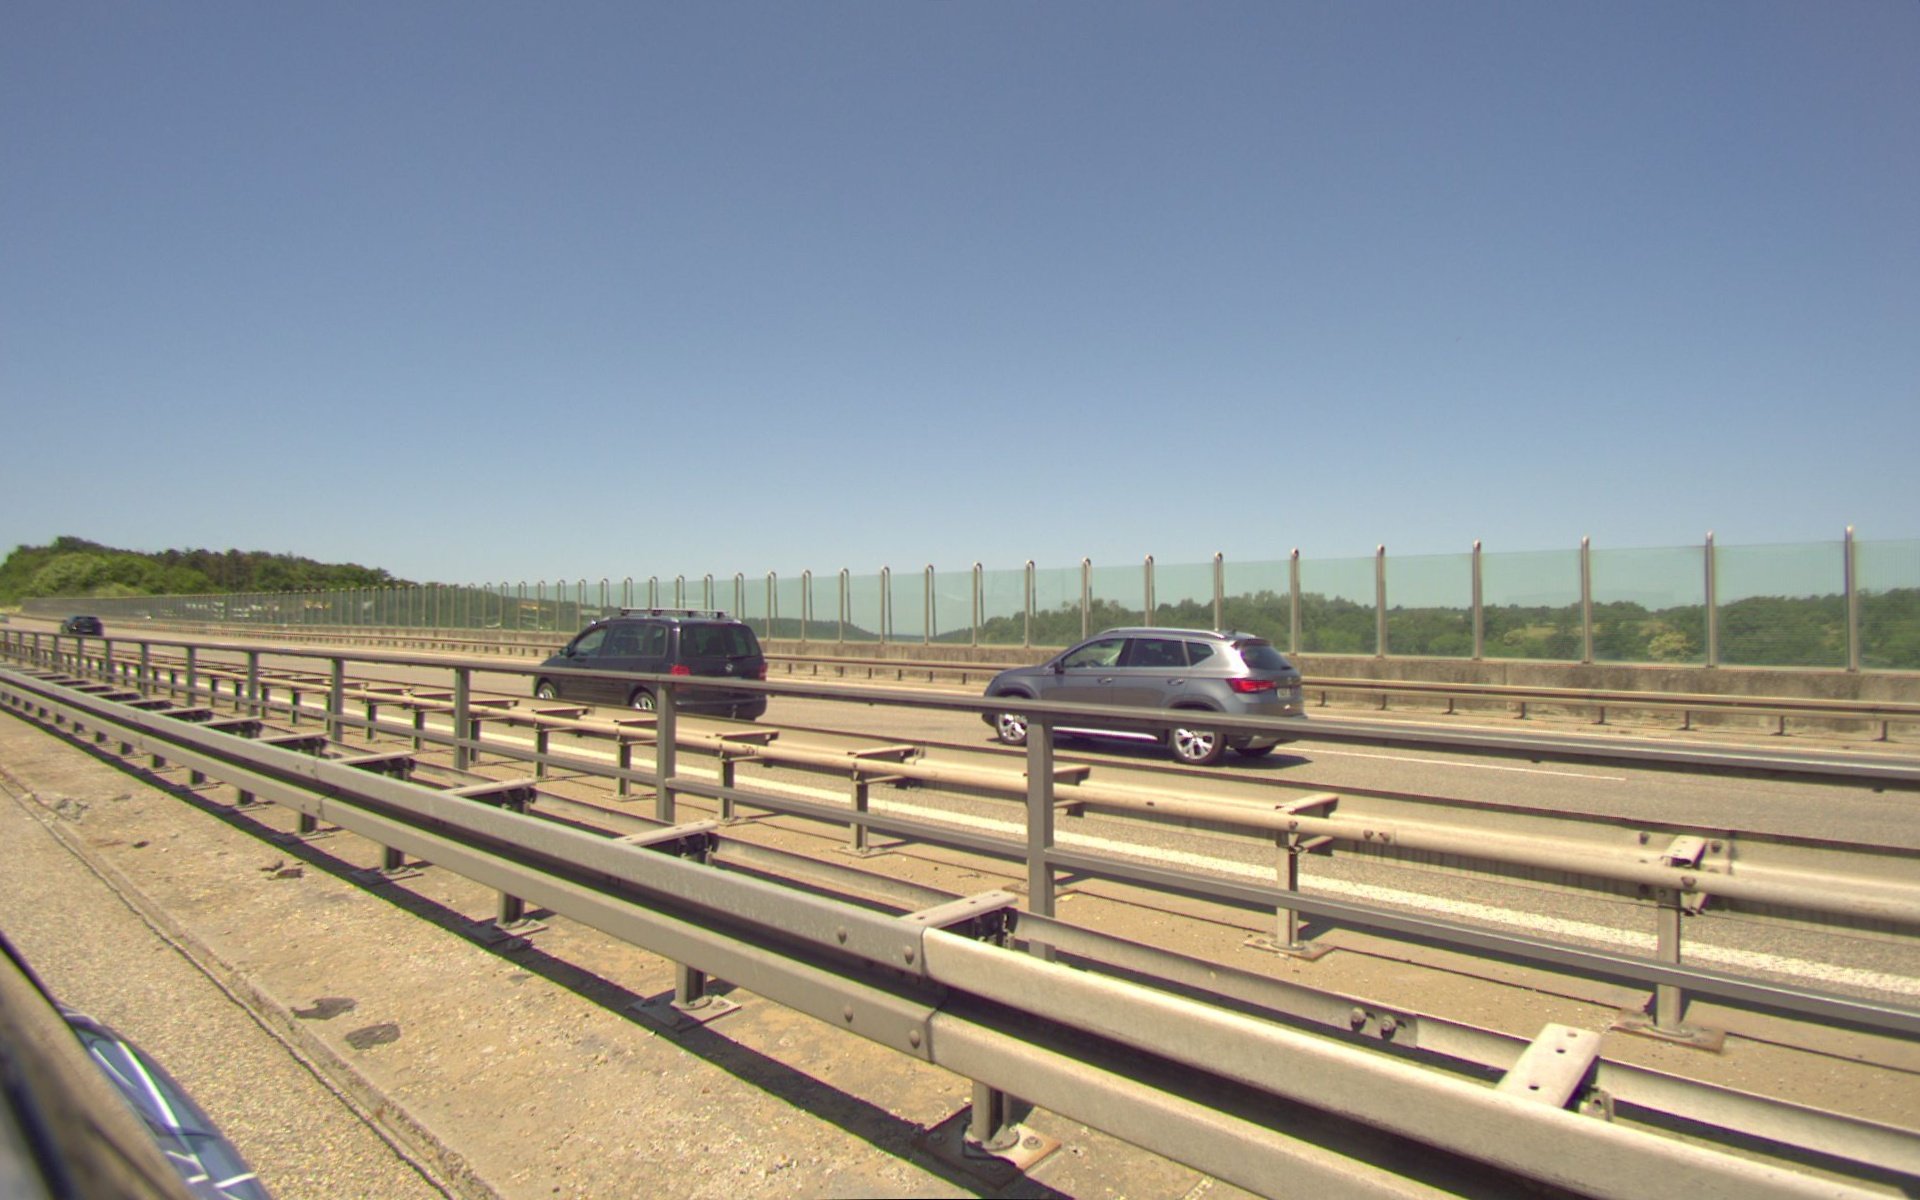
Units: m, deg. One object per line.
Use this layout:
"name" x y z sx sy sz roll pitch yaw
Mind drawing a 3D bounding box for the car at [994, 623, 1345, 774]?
"car" 2.542 1.116 12.799 3.998 1.559 1.736 0 -3 41

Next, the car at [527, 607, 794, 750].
"car" -4.402 1.023 14.556 4.099 1.734 1.736 -2 0 41

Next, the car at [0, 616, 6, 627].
"car" -131.663 2.945 138.276 3.674 1.405 1.588 0 -3 41

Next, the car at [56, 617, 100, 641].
"car" -61.013 1.967 69.975 4.386 1.581 1.761 -1 -3 42
